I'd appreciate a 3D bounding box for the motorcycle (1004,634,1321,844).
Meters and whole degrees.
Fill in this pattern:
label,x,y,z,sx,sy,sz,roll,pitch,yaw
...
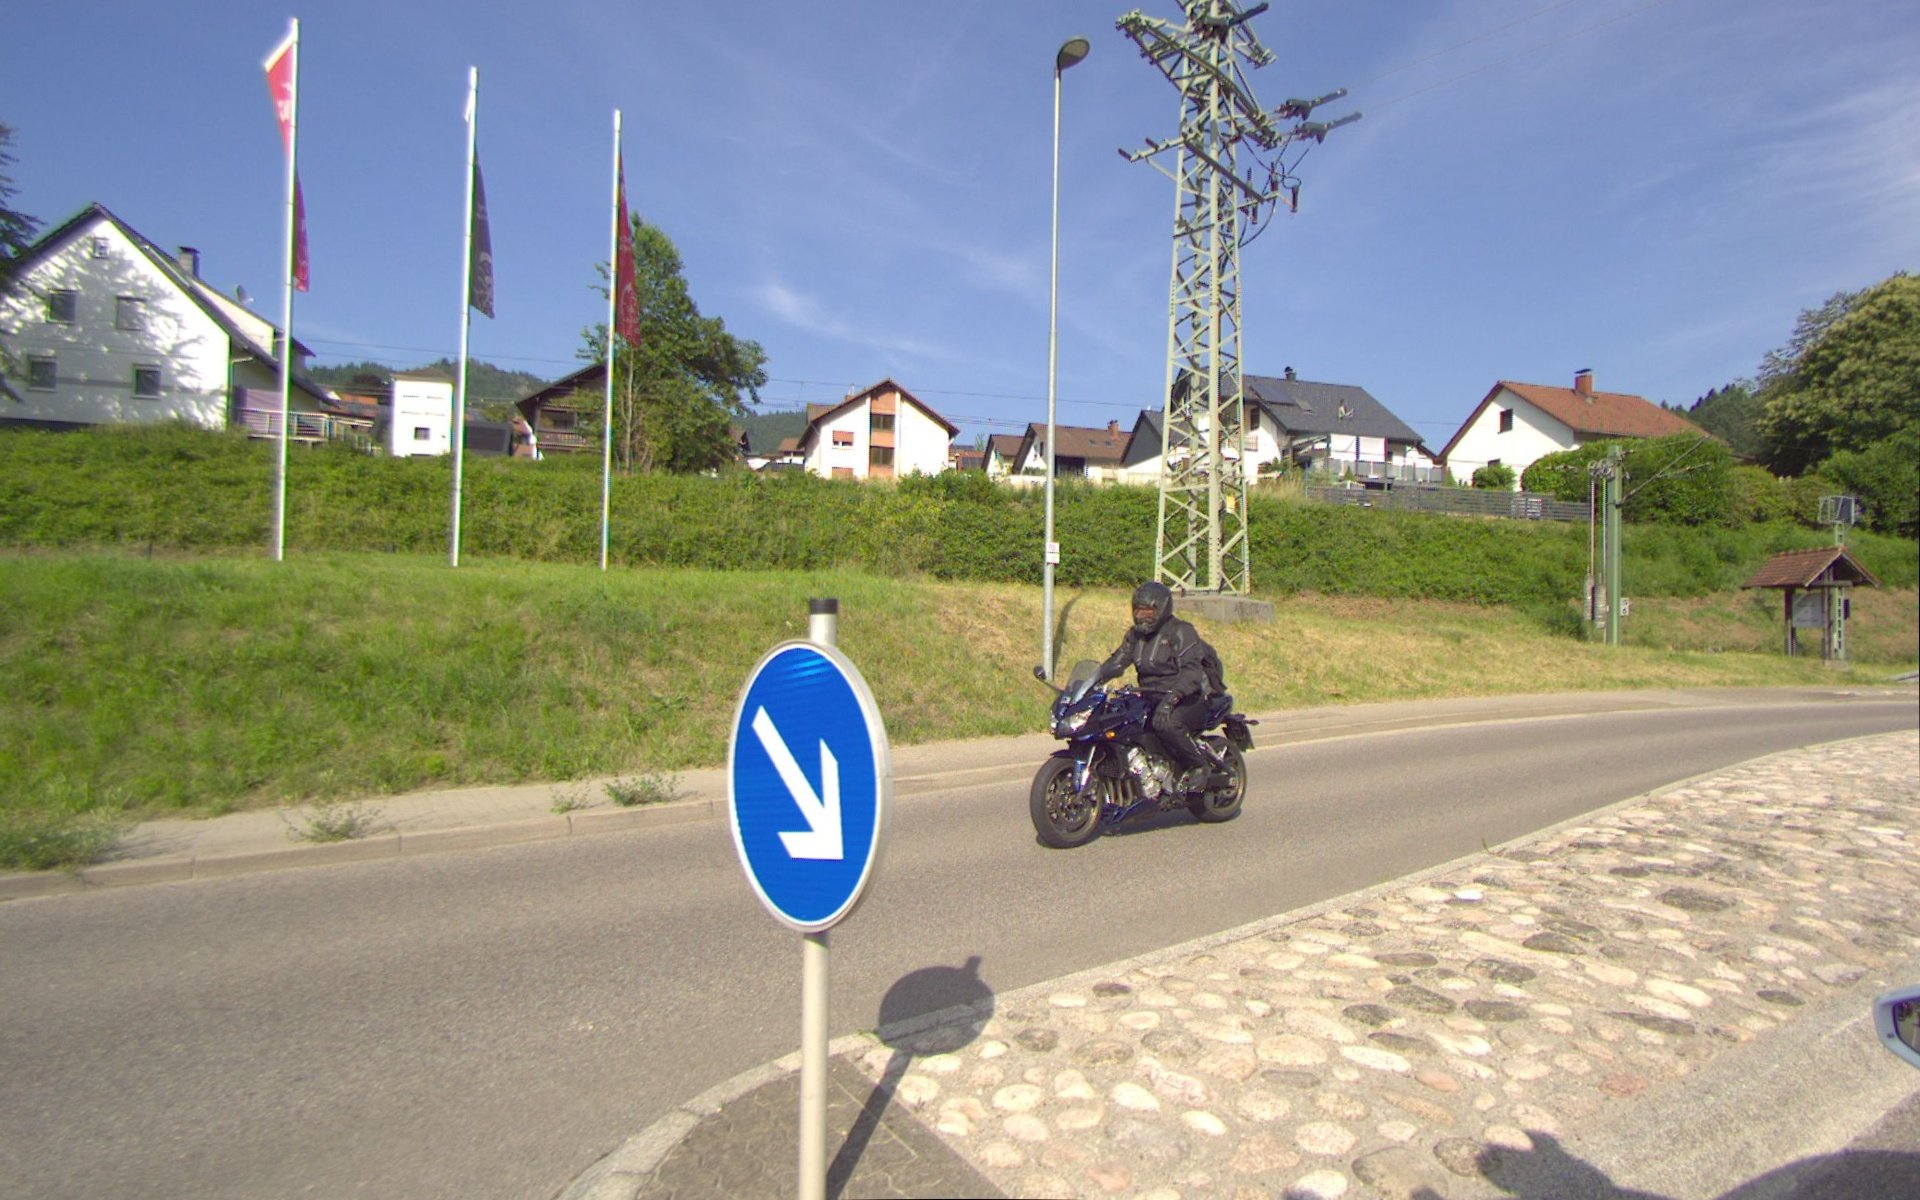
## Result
label,x,y,z,sx,sy,sz,roll,pitch,yaw
motorcycle,1.460,0.867,6.918,2.287,1.199,0.887,3,-2,-40

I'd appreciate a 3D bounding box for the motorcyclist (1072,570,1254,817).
label,x,y,z,sx,sy,sz,roll,pitch,yaw
motorcyclist,1.387,0.601,6.878,0.840,1.539,0.898,2,-2,-39
